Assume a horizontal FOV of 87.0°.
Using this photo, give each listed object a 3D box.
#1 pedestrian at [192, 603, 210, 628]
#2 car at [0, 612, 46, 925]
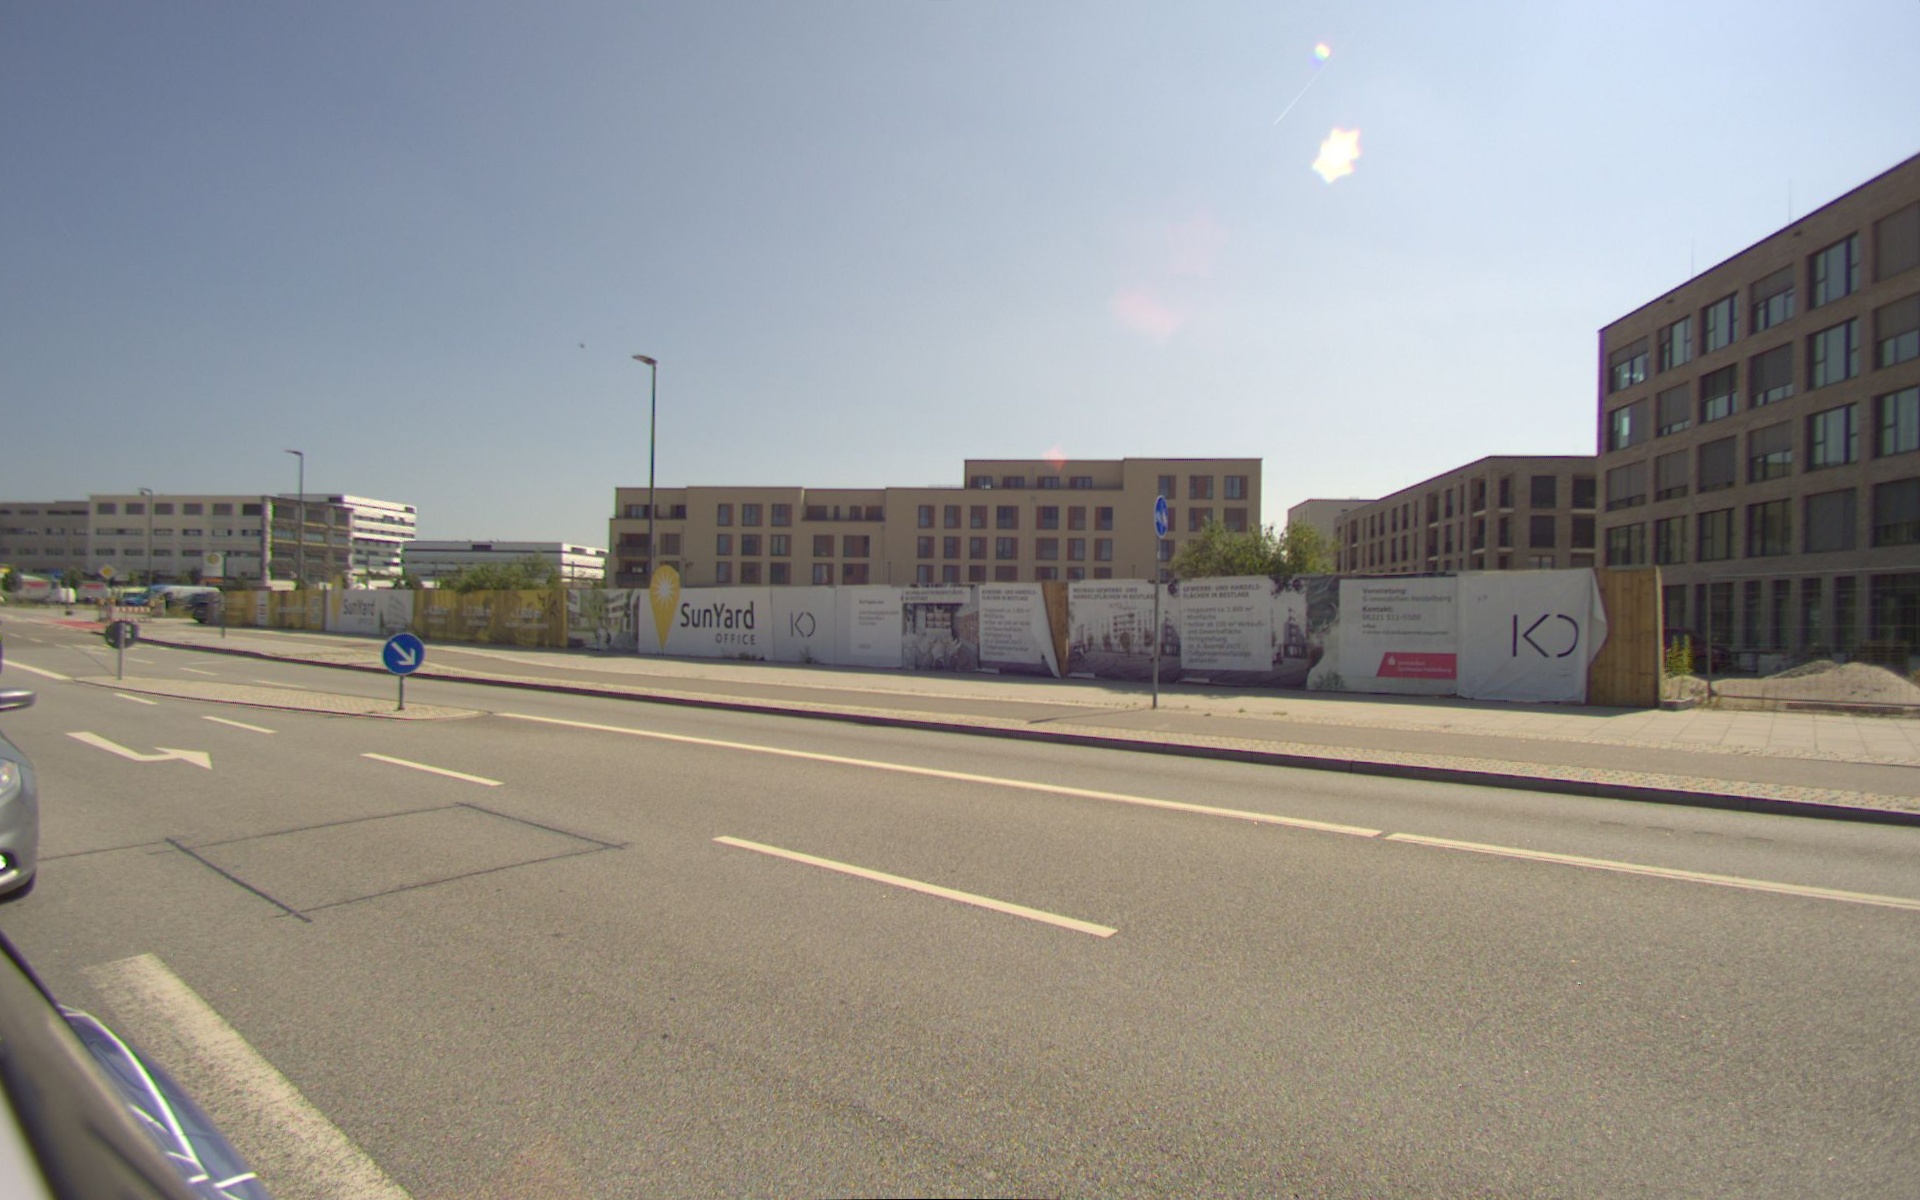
[{"bbox_3d":[-48.781,0.971,65.081,0.610,1.598,0.703,-1,0,5],"label":"pedestrian"},{"bbox_3d":[-6.307,0.779,5.321,4.134,1.390,1.762,-1,0,41],"label":"car"}]
